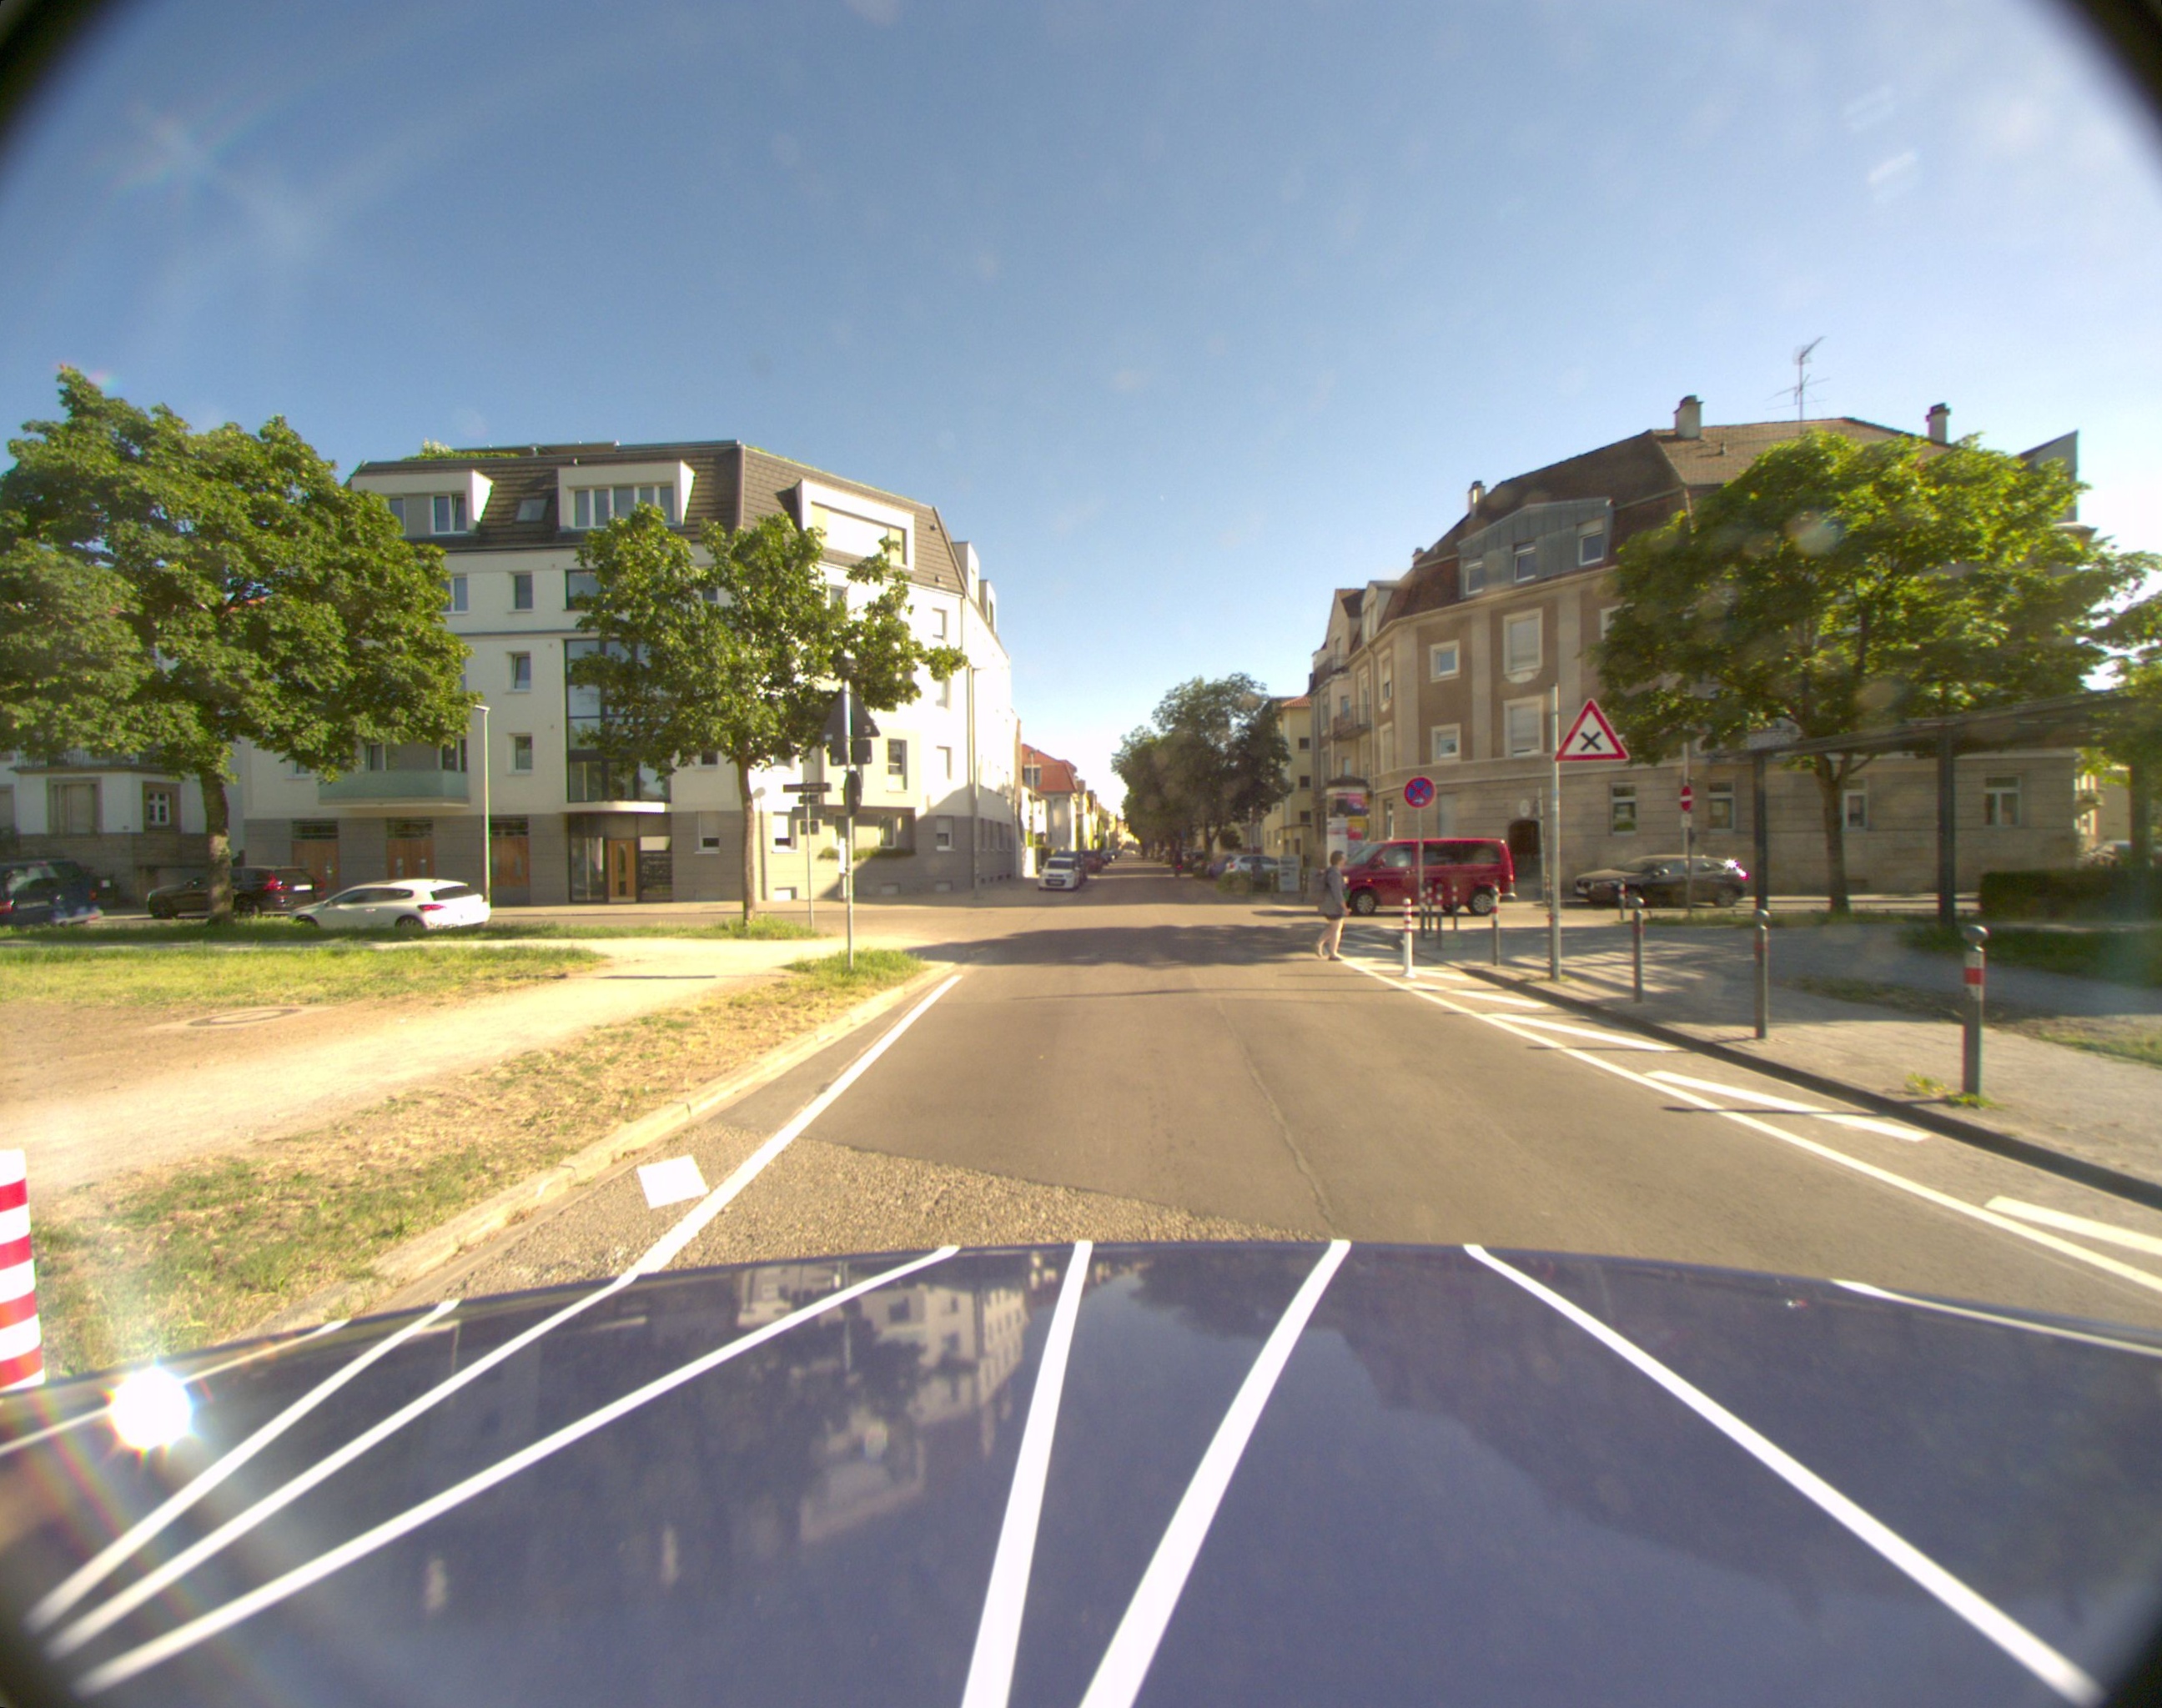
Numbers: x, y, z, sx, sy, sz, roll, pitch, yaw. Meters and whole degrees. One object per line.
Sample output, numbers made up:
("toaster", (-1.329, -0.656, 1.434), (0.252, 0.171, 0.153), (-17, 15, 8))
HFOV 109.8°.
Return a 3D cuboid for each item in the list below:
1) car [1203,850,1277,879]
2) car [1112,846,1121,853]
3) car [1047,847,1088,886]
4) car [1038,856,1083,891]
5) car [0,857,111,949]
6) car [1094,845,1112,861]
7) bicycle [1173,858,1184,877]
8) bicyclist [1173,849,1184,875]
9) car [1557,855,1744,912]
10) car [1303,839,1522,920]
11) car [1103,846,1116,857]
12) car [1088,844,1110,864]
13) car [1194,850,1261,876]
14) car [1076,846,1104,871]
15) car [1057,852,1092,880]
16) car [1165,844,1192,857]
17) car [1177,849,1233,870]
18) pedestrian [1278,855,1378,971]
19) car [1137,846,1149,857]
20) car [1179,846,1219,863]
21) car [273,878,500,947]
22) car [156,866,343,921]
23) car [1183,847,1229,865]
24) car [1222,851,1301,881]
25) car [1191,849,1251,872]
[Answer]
("car", (8.900, 0.573, 42.697), (3.788, 1.486, 1.692), (-2, 1, 1))
("car", (7.906, -1.037, 167.757), (1.883, 1.427, 4.348), (-1, 0, 4))
("car", (-0.654, 0.596, 39.553), (1.664, 1.825, 4.257), (2, 1, 4))
("car", (-0.886, 0.861, 35.096), (1.664, 1.440, 3.689), (2, 1, 4))
("car", (-27.544, 1.187, 19.130), (3.989, 2.073, 1.783), (-1, 5, 5))
("car", (2.656, -0.076, 90.813), (1.883, 1.860, 4.403), (-1, 0, 4))
("bicycle", (6.082, 0.842, 47.471), (0.644, 1.102, 2.066), (-1, 1, 5))
("bicyclist", (6.067, 0.469, 47.389), (0.644, 1.610, 0.637), (-1, 1, 5))
("car", (16.615, 0.828, 22.327), (4.011, 1.476, 1.867), (-1, 4, 1))
("car", (8.516, 0.632, 19.870), (4.882, 1.950, 1.896), (-1, 2, 1))
("car", (4.373, -0.358, 117.136), (1.883, 1.734, 4.403), (-1, 0, 4))
("car", (1.812, -0.015, 75.362), (1.883, 1.860, 4.402), (2, 1, 4))
("car", (9.189, 0.571, 47.826), (3.791, 1.486, 1.691), (-2, 1, -9))
("car", (0.742, 0.311, 61.306), (1.883, 1.860, 4.402), (2, 1, 4))
("car", (-0.356, 0.675, 44.952), (1.664, 1.533, 4.067), (2, 1, 4))
("car", (13.469, -0.476, 105.290), (3.527, 1.693, 1.692), (-2, 1, 2))
("car", (9.308, 0.397, 57.147), (3.791, 1.486, 1.691), (-2, 1, -9))
("pedestrian", (3.699, 0.858, 11.442), (1.091, 1.664, 0.912), (1, 0, -13))
("car", (9.629, -0.406, 117.960), (1.883, 1.591, 4.403), (-1, 0, 4))
("car", (11.300, 0.044, 72.929), (3.528, 1.486, 1.692), (-2, 1, -1))
("car", (-16.949, 1.410, 18.664), (3.990, 1.426, 1.739), (-1, 5, 4))
("car", (-27.536, 1.284, 25.247), (4.284, 1.673, 1.896), (-1, 2, 5))
("car", (11.276, 0.136, 68.597), (3.789, 1.486, 1.692), (-2, 1, -1))
("car", (9.566, 0.633, 40.468), (3.788, 1.436, 1.692), (-2, 1, 1))
("car", (9.949, 0.445, 53.990), (3.791, 1.486, 1.691), (-2, 1, -9))
